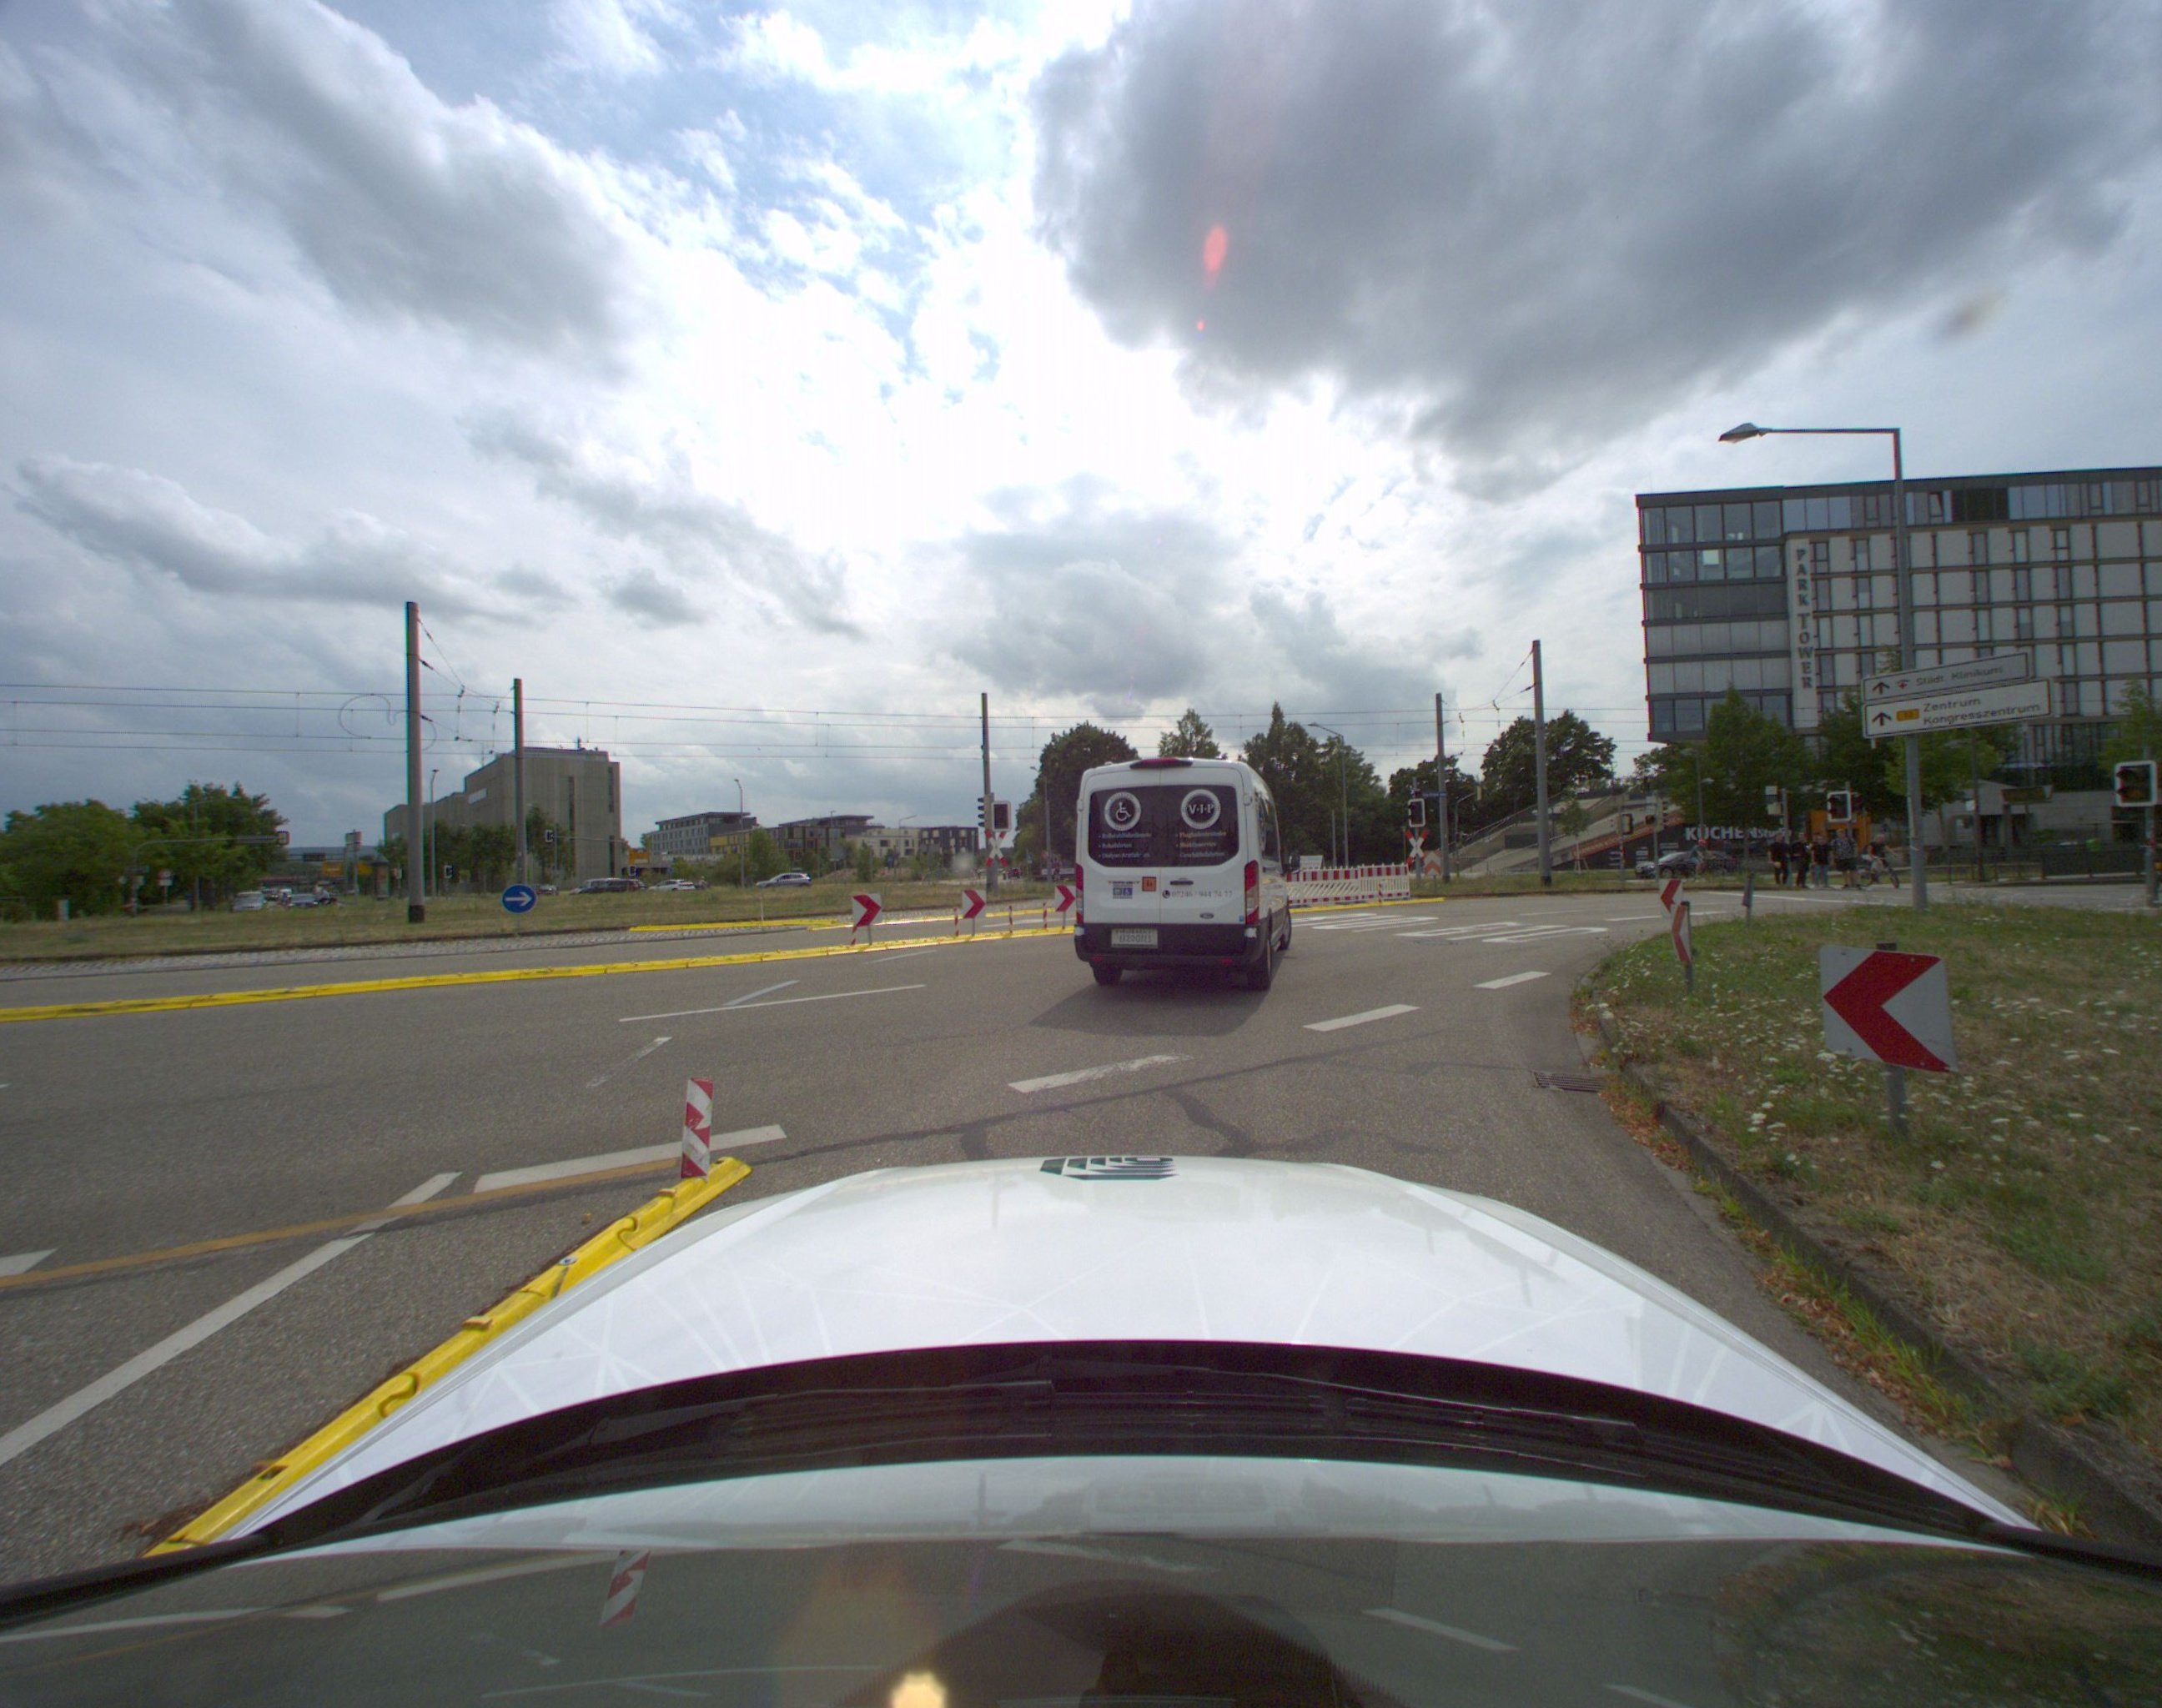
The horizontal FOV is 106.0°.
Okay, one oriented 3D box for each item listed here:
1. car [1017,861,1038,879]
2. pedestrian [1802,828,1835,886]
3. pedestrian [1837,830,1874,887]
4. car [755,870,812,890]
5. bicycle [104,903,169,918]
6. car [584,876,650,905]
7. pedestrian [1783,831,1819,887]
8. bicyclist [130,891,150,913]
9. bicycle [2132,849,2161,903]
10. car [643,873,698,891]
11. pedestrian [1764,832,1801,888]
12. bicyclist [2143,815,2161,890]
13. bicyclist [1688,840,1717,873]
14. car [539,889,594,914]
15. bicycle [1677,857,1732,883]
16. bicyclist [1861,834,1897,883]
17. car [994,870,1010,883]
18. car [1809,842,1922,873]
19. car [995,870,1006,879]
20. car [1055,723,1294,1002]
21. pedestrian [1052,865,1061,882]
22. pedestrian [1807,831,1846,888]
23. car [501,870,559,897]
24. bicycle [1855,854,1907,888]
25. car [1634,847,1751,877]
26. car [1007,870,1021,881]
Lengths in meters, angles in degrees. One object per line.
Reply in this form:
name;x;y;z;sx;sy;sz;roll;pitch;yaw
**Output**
car;-6.393;1.888;97.150;1.994;2.014;3.985;-1;-2;-10
pedestrian;24.054;0.105;26.576;0.528;1.862;0.552;-1;-1;-2
pedestrian;24.467;0.147;25.734;0.577;1.781;0.552;-1;-1;-2
car;-24.193;2.133;66.332;4.016;1.464;1.813;-1;-2;-35
bicycle;-62.933;3.770;54.295;0.853;0.855;2.675;-2;-1;27
car;-34.511;2.720;60.717;4.002;2.014;1.985;0;-2;-22
pedestrian;23.423;0.169;26.494;0.630;1.781;0.552;-1;-1;-2
bicyclist;-62.871;3.194;54.421;0.853;1.409;0.678;-2;-1;27
bicycle;23.711;0.470;17.433;0.781;1.168;2.054;-3;-1;32
car;-35.470;2.453;70.362;3.958;1.464;1.840;-2;-2;14
pedestrian;22.708;0.189;26.370;0.686;1.781;0.552;-1;-1;-3
bicyclist;23.673;-0.044;17.416;0.781;1.627;1.055;-3;-1;31
bicyclist;25.150;0.096;32.955;0.639;1.317;0.671;-1;-1;-15
car;-43.528;4.011;68.858;4.307;2.014;2.012;-2;-2;27
bicycle;25.170;0.629;32.915;0.653;1.007;1.748;-1;0;-14
bicyclist;25.955;0.151;26.499;0.554;1.581;0.769;-2;-1;21
car;-11.662;3.409;120.549;1.987;1.849;4.000;-1;-2;1
car;41.029;0.189;42.654;3.968;1.458;1.851;-2;0;5
car;-16.194;4.159;164.199;1.988;1.849;3.996;-1;-2;-2
car;1.602;0.130;10.876;2.110;2.698;5.656;-2;-1;17
pedestrian;-2.398;1.906;79.386;0.443;1.594;0.676;-2;-1;45
pedestrian;23.724;0.184;25.919;0.686;1.781;0.552;-1;-1;-3
car;-42.636;2.261;63.022;3.949;2.014;2.012;-2;-2;27
bicycle;25.909;0.524;26.416;0.542;1.058;1.722;-2;0;21
car;32.226;0.424;43.038;4.701;1.458;1.851;-2;0;4
car;-11.337;3.676;137.317;1.988;1.849;3.998;-1;-2;-1
